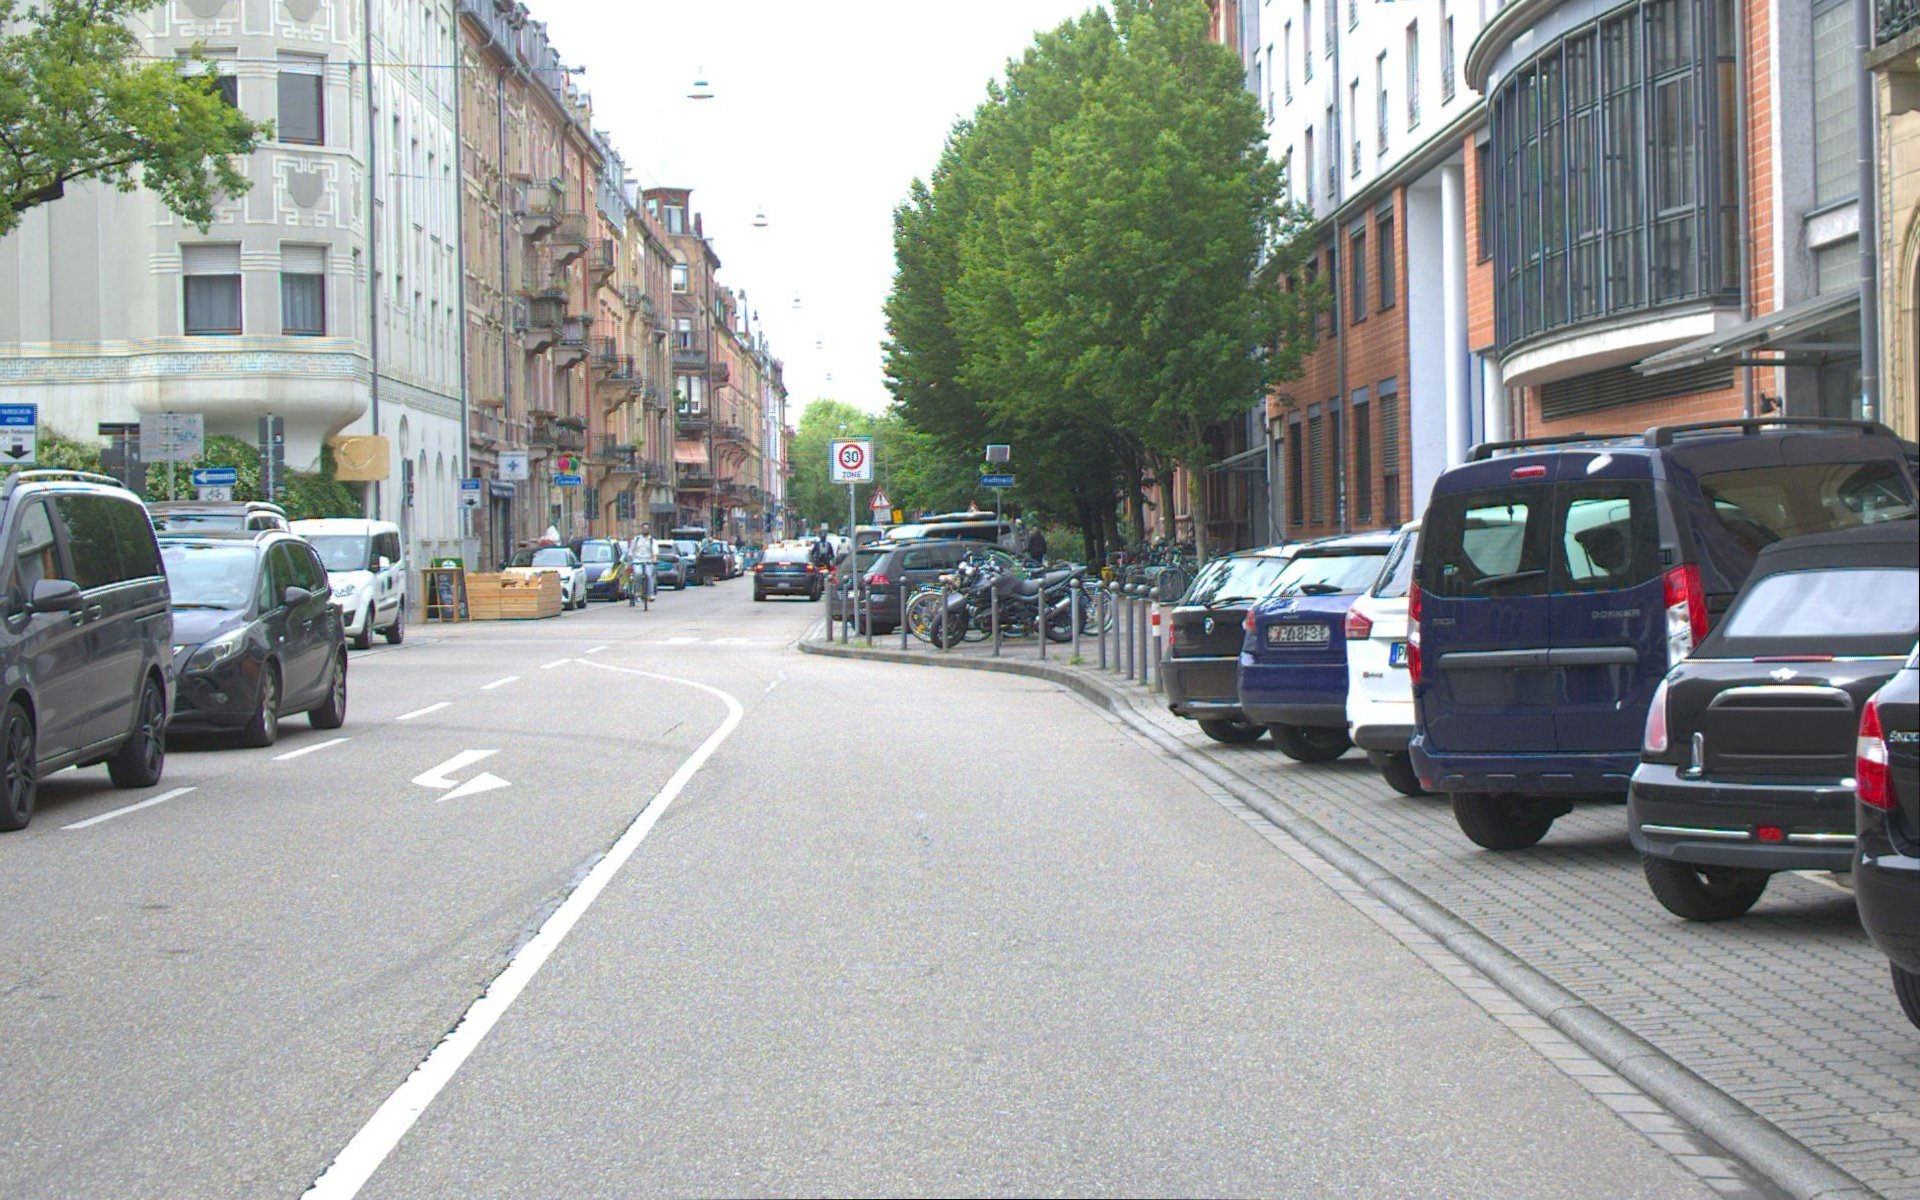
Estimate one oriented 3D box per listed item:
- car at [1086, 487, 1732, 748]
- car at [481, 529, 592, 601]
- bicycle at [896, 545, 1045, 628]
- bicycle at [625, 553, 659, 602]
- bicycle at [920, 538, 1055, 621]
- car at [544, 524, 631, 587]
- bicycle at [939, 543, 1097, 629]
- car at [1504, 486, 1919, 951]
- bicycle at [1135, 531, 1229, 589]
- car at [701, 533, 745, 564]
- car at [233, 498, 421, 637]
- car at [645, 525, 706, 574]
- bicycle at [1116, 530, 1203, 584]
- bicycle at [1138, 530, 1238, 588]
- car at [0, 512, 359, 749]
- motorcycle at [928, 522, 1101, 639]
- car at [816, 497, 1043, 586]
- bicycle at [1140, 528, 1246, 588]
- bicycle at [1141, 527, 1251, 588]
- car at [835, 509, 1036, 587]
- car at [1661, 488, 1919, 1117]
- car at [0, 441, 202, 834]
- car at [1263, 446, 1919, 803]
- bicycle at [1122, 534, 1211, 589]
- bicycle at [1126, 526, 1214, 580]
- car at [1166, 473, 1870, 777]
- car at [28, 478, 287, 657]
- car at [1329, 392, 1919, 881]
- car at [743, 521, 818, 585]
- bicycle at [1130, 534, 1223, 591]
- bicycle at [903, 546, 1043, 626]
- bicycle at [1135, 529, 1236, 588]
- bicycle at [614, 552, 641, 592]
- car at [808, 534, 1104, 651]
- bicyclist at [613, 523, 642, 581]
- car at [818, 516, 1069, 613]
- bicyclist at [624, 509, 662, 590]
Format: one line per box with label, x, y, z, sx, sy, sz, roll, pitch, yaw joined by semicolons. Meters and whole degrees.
car;3.214;0.076;24.488;4.246;1.473;1.685;-5;3;-25
car;-9.722;-0.818;79.192;1.944;1.548;3.817;-2;1;2
bicycle;0.139;-0.177;46.232;1.929;1.040;0.612;-2;0;-4
bicycle;-7.316;-0.516;79.074;0.567;1.084;1.987;-1;1;0
bicycle;0.391;-0.298;49.895;1.883;1.137;0.612;-2;0;-4
car;-9.796;-1.169;90.589;1.944;1.611;3.943;0;1;-1
bicycle;0.759;-0.182;45.456;2.008;1.059;0.612;-2;0;-4
car;4.232;0.271;12.984;4.060;1.448;2.031;-6;2;-39
bicycle;4.277;-0.771;66.313;1.752;1.088;0.565;0;0;-1
car;-10.818;-2.338;156.682;1.993;1.317;4.000;0;0;-4
car;-9.168;-0.507;50.131;1.843;1.933;4.548;0;1;1
car;-10.244;-1.811;124.146;1.944;1.736;3.943;0;1;-1
bicycle;4.140;-0.887;71.394;1.752;1.088;0.565;0;0;-1
bicycle;4.307;-0.772;64.900;1.836;1.088;0.565;0;0;-1
car;-5.986;0.166;26.790;1.845;1.678;4.549;0;1;-1
motorcycle;0.698;-0.251;44.351;2.133;1.425;0.771;-2;0;-4
car;-0.760;-1.503;87.798;5.608;2.120;1.950;-2;1;-35
bicycle;4.280;-0.769;63.296;1.895;1.088;0.543;0;0;-1
bicycle;4.299;-0.768;62.690;1.933;1.088;0.577;0;0;-1
car;-0.668;-1.460;95.917;5.387;1.985;1.950;-2;1;-35
car;4.167;0.404;9.719;4.452;1.547;1.851;-3;2;-39
car;-5.749;0.142;19.176;1.912;1.948;5.284;0;1;-1
car;3.739;0.065;18.958;3.989;1.596;1.765;-6;3;-41
bicycle;4.180;-0.779;69.769;1.752;1.088;0.565;0;0;-1
bicycle;4.306;-0.973;70.642;1.752;1.088;0.565;0;0;-1
car;3.536;0.098;21.667;3.987;1.528;1.932;-5;3;-30
car;-9.548;-0.420;41.325;2.013;2.007;5.184;0;1;-2
car;3.878;0.025;15.824;4.271;1.900;1.879;-6;3;-42
car;-4.899;-1.266;94.387;1.993;1.675;4.000;0;0;-2
bicycle;4.208;-0.726;66.917;1.752;1.088;0.565;0;0;-1
bicycle;0.176;-0.193;47.744;1.883;1.040;0.612;-2;0;-4
bicycle;4.206;-0.773;64.104;1.836;1.088;0.543;0;0;-1
bicycle;-8.107;-0.677;83.885;0.535;0.974;1.865;0;0;-2
car;-0.045;-0.130;54.151;4.274;1.573;1.863;-4;2;-34
bicyclist;-8.105;-1.160;83.868;0.668;1.394;0.783;0;0;-4
car;-0.294;-0.637;61.606;4.047;1.579;1.903;-2;0;-32
bicyclist;-7.295;-1.166;79.240;0.782;1.860;0.714;-1;1;1
